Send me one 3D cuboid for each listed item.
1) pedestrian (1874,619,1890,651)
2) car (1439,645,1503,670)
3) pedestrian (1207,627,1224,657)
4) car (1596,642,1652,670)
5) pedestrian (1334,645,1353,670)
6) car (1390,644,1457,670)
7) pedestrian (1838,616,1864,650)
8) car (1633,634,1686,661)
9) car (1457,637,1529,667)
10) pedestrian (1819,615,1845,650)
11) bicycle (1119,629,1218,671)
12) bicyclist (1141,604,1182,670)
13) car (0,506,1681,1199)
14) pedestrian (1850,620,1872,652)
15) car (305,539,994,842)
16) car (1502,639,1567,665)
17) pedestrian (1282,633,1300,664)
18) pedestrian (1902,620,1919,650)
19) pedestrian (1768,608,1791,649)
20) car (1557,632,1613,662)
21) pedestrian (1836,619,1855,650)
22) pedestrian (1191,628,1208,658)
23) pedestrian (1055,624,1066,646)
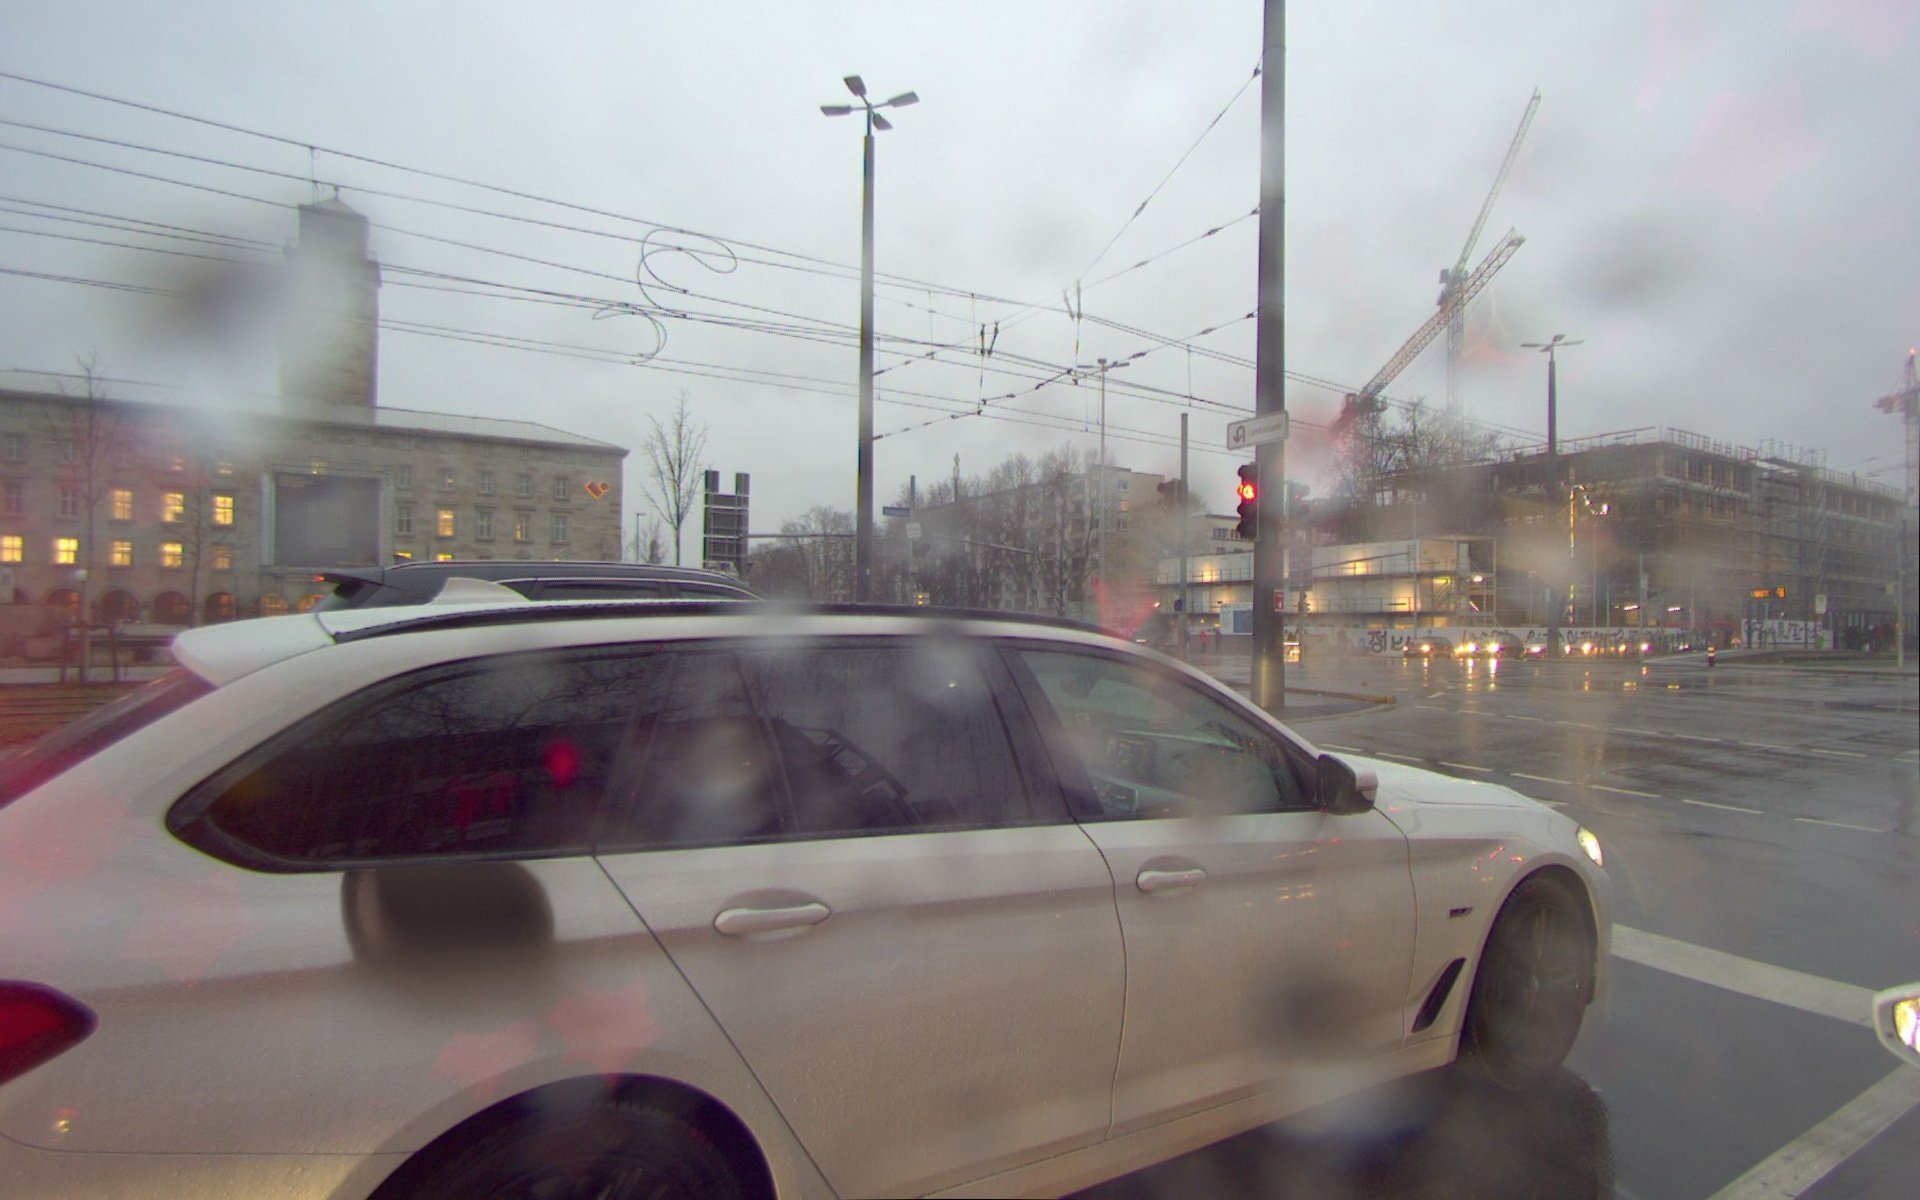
[{"bbox_3d":[57.939,2.188,63.109,0.659,1.994,0.566,2,1,-36],"label":"pedestrian"},{"bbox_3d":[34.247,3.831,67.313,3.953,1.550,1.984,2,-2,-30],"label":"car"},{"bbox_3d":[17.689,2.911,69.565,0.737,2.040,0.783,2,0,-25],"label":"pedestrian"},{"bbox_3d":[47.004,3.963,71.111,3.960,1.814,1.980,2,0,-35],"label":"car"},{"bbox_3d":[22.160,3.308,58.070,0.711,1.407,0.729,2,0,-8],"label":"pedestrian"},{"bbox_3d":[29.368,3.576,63.608,3.953,1.550,1.984,2,-2,-30],"label":"car"},{"bbox_3d":[55.535,2.057,62.594,1.082,2.040,0.936,2,0,-34],"label":"pedestrian"},{"bbox_3d":[51.620,3.485,74.117,3.960,1.814,1.980,2,0,-35],"label":"car"},{"bbox_3d":[31.364,3.050,59.074,3.953,1.679,1.984,2,-2,-30],"label":"car"},{"bbox_3d":[53.344,1.985,61.447,1.084,2.040,0.935,2,0,-36],"label":"pedestrian"},{"bbox_3d":[6.201,1.488,29.967,2.807,1.114,0.746,2,0,11],"label":"bicycle"},{"bbox_3d":[6.005,1.091,29.997,1.136,1.896,0.746,2,0,12],"label":"bicyclist"},{"bbox_3d":[0.006,0.705,3.093,4.508,1.506,2.007,2,-2,-31],"label":"car"},{"bbox_3d":[54.429,2.165,60.679,0.754,1.922,0.761,3,-1,-30],"label":"pedestrian"},{"bbox_3d":[-2.072,0.551,7.230,4.238,1.605,1.958,2,-1,-29],"label":"car"},{"bbox_3d":[35.874,3.239,62.716,4.577,1.550,2.059,2,-2,-40],"label":"car"},{"bbox_3d":[23.948,3.507,72.670,0.758,2.194,0.867,2,0,-38],"label":"pedestrian"},{"bbox_3d":[66.103,2.412,69.632,1.084,2.040,0.935,2,0,-36],"label":"pedestrian"},{"bbox_3d":[47.197,1.632,57.854,0.754,2.354,0.761,3,-1,-30],"label":"pedestrian"},{"bbox_3d":[41.332,3.082,66.407,3.963,1.852,1.852,2,0,-37],"label":"car"},{"bbox_3d":[54.552,2.121,61.880,0.547,1.906,0.695,2,0,-30],"label":"pedestrian"},{"bbox_3d":[16.688,2.978,69.977,0.620,2.040,0.856,2,0,-37],"label":"pedestrian"},{"bbox_3d":[8.878,3.086,88.728,0.709,1.927,0.787,1,-1,-31],"label":"pedestrian"}]
